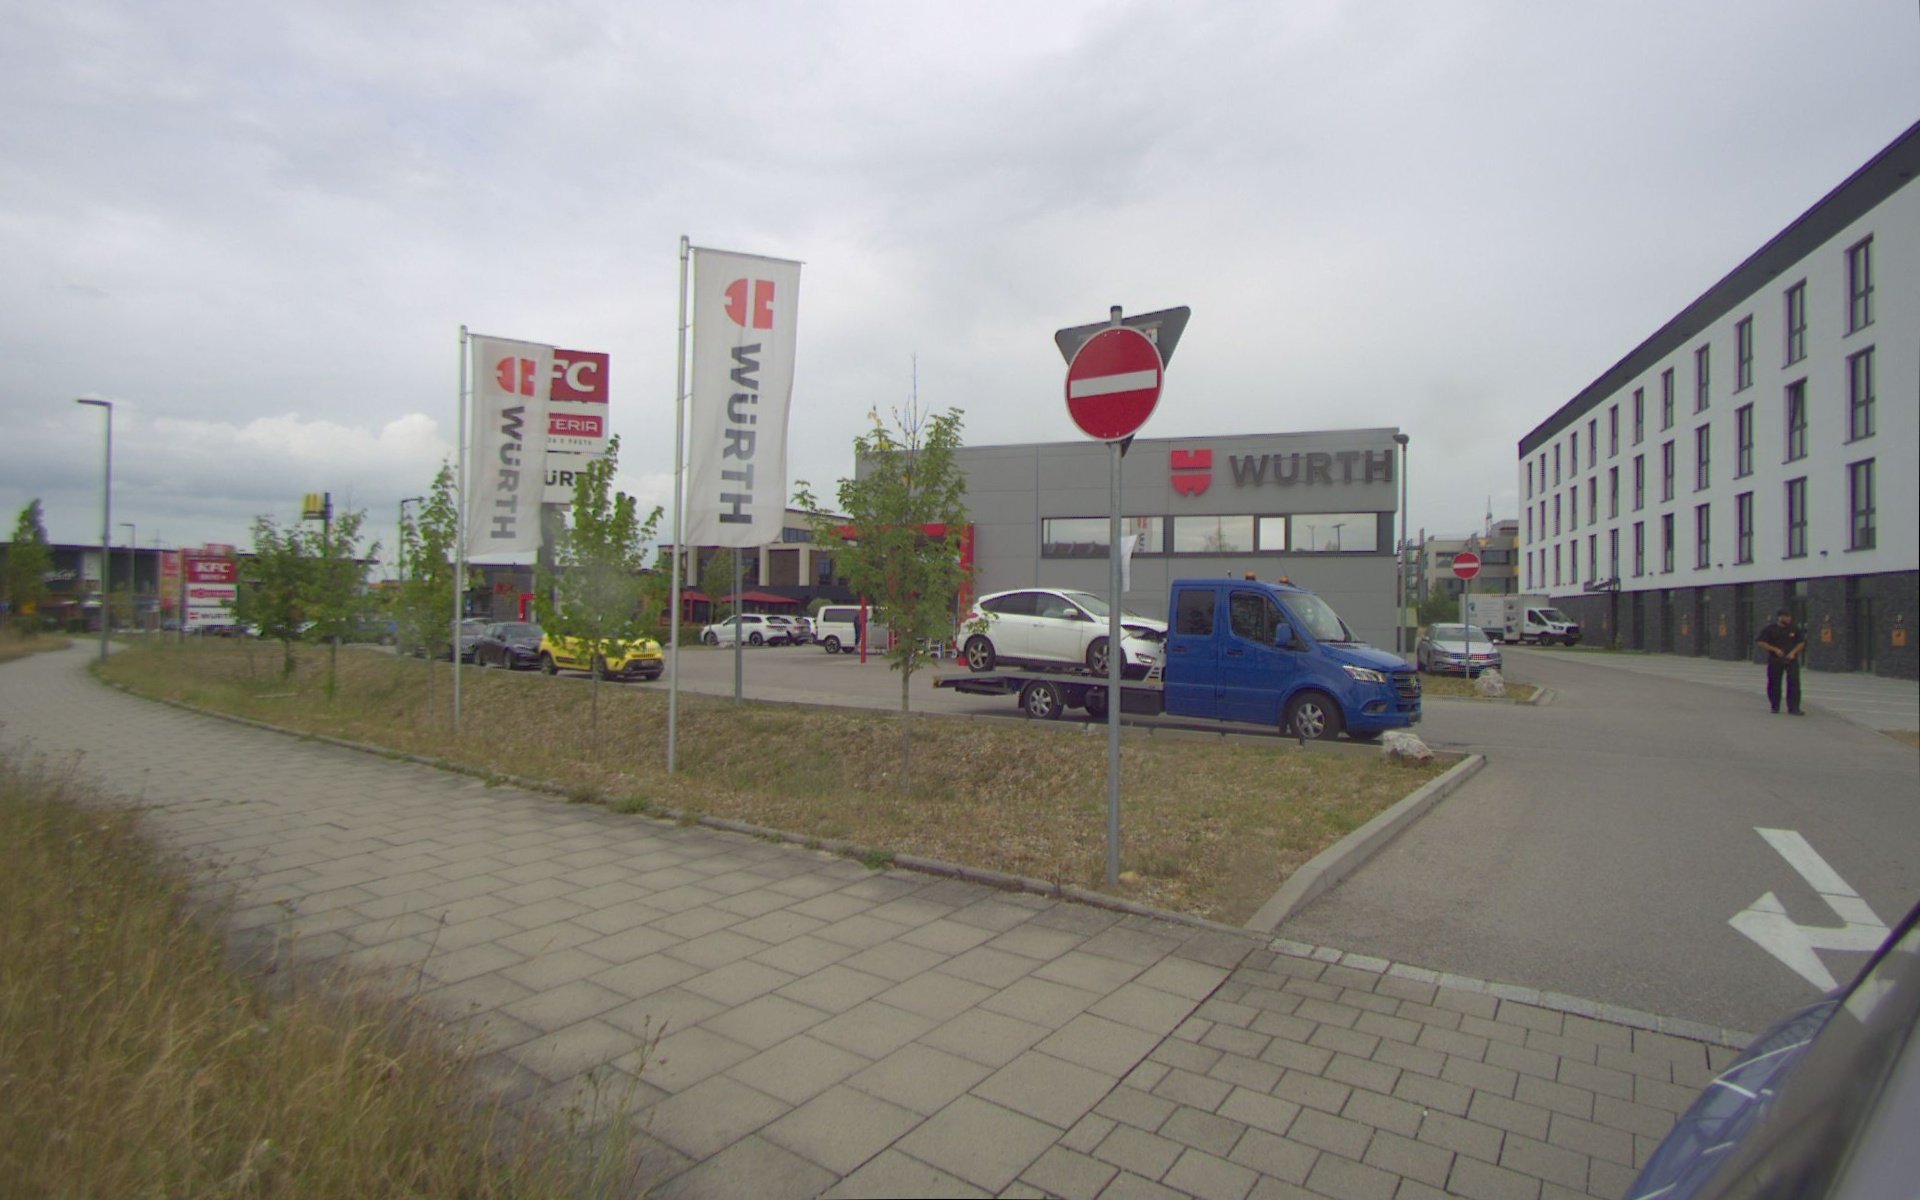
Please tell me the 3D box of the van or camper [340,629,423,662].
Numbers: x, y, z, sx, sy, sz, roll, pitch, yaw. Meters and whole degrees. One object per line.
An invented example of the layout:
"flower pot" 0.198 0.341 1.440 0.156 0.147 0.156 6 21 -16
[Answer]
"van or camper" -33.981 2.640 59.487 3.930 1.817 1.819 1 -1 -41

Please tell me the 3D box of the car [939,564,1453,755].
"car" 3.235 0.713 15.874 7.827 2.352 2.167 0 0 43

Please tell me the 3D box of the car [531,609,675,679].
"car" -9.575 1.097 26.997 4.278 1.705 1.728 0 0 40

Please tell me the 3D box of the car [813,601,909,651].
"car" -4.110 1.044 42.007 3.631 2.004 1.664 0 0 21

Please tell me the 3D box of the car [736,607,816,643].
"car" -10.190 1.352 56.157 3.953 1.883 1.985 0 0 22

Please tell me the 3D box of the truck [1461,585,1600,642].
"truck" 32.484 0.739 58.001 2.385 3.055 7.083 0 0 -19

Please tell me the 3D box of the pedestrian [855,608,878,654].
"pedestrian" -3.742 1.227 40.520 0.651 1.831 0.644 1 -1 22

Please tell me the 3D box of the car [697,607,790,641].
"car" -11.474 1.244 53.566 4.687 1.771 1.745 0 -1 23

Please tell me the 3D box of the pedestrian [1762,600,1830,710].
"pedestrian" 14.391 0.924 17.444 0.702 1.845 0.806 0 -1 25

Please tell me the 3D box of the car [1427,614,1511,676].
"car" 14.675 1.223 29.292 1.962 1.510 4.727 2 1 26

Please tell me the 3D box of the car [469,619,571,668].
"car" -13.790 1.302 31.610 1.714 1.379 3.991 0 0 -43

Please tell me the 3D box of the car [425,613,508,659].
"car" -17.726 1.240 36.250 1.687 1.518 3.992 0 0 -42

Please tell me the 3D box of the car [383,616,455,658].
"car" -21.788 1.450 40.717 1.687 1.518 3.992 0 0 -42
